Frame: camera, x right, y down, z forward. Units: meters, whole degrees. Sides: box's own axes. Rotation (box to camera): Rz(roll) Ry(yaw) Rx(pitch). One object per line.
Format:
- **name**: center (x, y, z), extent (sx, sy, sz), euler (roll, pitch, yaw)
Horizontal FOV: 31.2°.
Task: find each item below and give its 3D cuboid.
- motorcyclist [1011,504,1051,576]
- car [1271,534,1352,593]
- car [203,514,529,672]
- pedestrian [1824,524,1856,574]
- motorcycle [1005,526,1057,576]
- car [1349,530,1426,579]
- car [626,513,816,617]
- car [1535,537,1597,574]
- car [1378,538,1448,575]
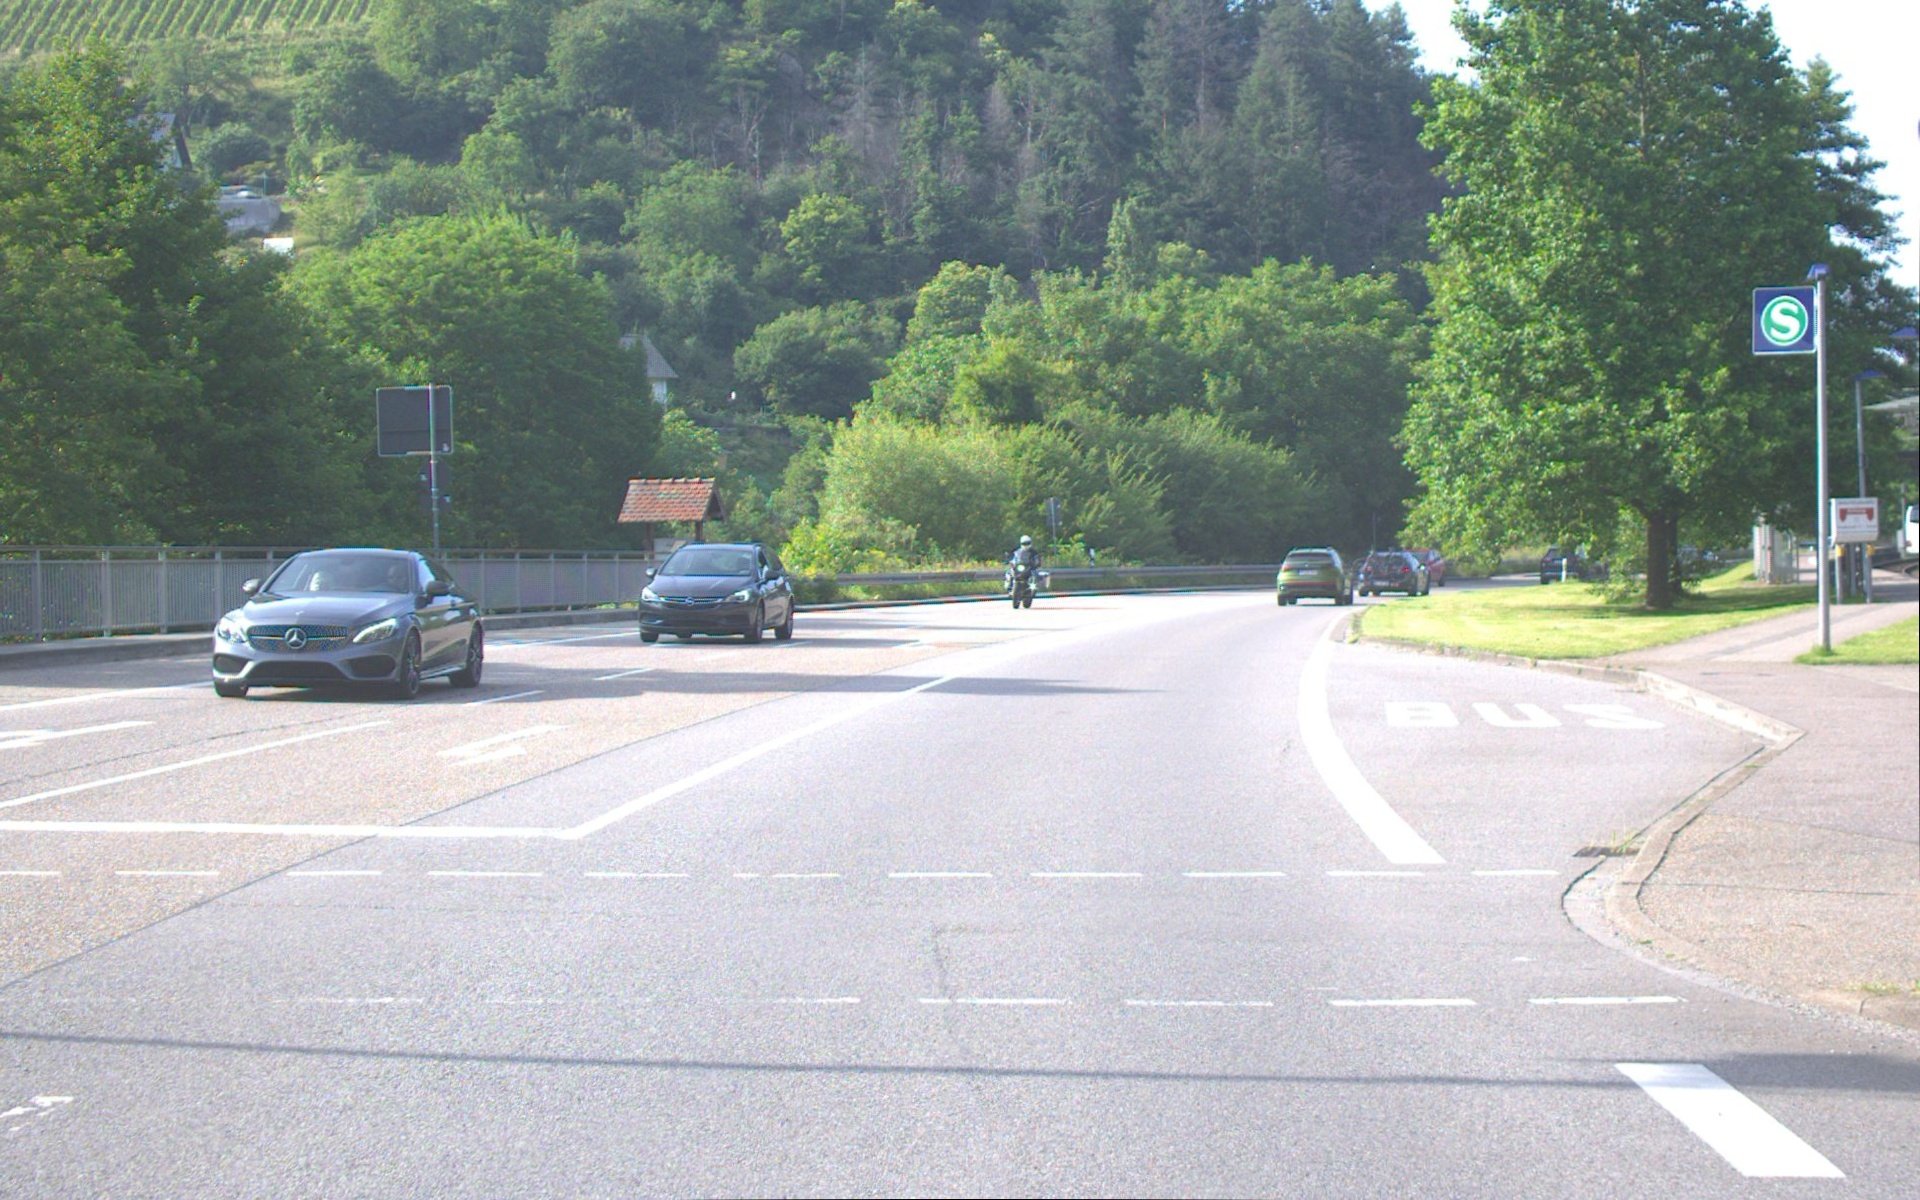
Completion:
- **motorcyclist**: center (1.772, -1.506, 85.934), extent (0.845, 1.778, 1.171), euler (0, 1, 9)
- **car**: center (9.304, -0.965, 90.738), extent (1.729, 1.452, 3.409), euler (-2, 0, 12)
- **car**: center (-5.600, -0.102, 33.013), extent (1.771, 1.373, 4.643), euler (1, 1, 7)
- **pedestrian**: center (21.071, -1.219, 82.350), extent (0.636, 1.157, 0.725), euler (-2, 0, 20)
- **motorcycle**: center (1.784, -1.233, 85.919), extent (0.973, 1.217, 2.571), euler (1, 1, 9)
- **car**: center (13.633, -1.447, 109.510), extent (1.841, 1.454, 3.710), euler (-2, 0, 16)
- **car**: center (-3.519, -0.541, 51.462), extent (1.786, 1.474, 4.752), euler (0, 1, 9)
- **car**: center (25.314, -1.873, 143.544), extent (1.808, 1.448, 3.643), euler (-2, 0, 21)
- **car**: center (17.977, -1.733, 136.331), extent (1.677, 1.455, 4.197), euler (0, 1, 23)
